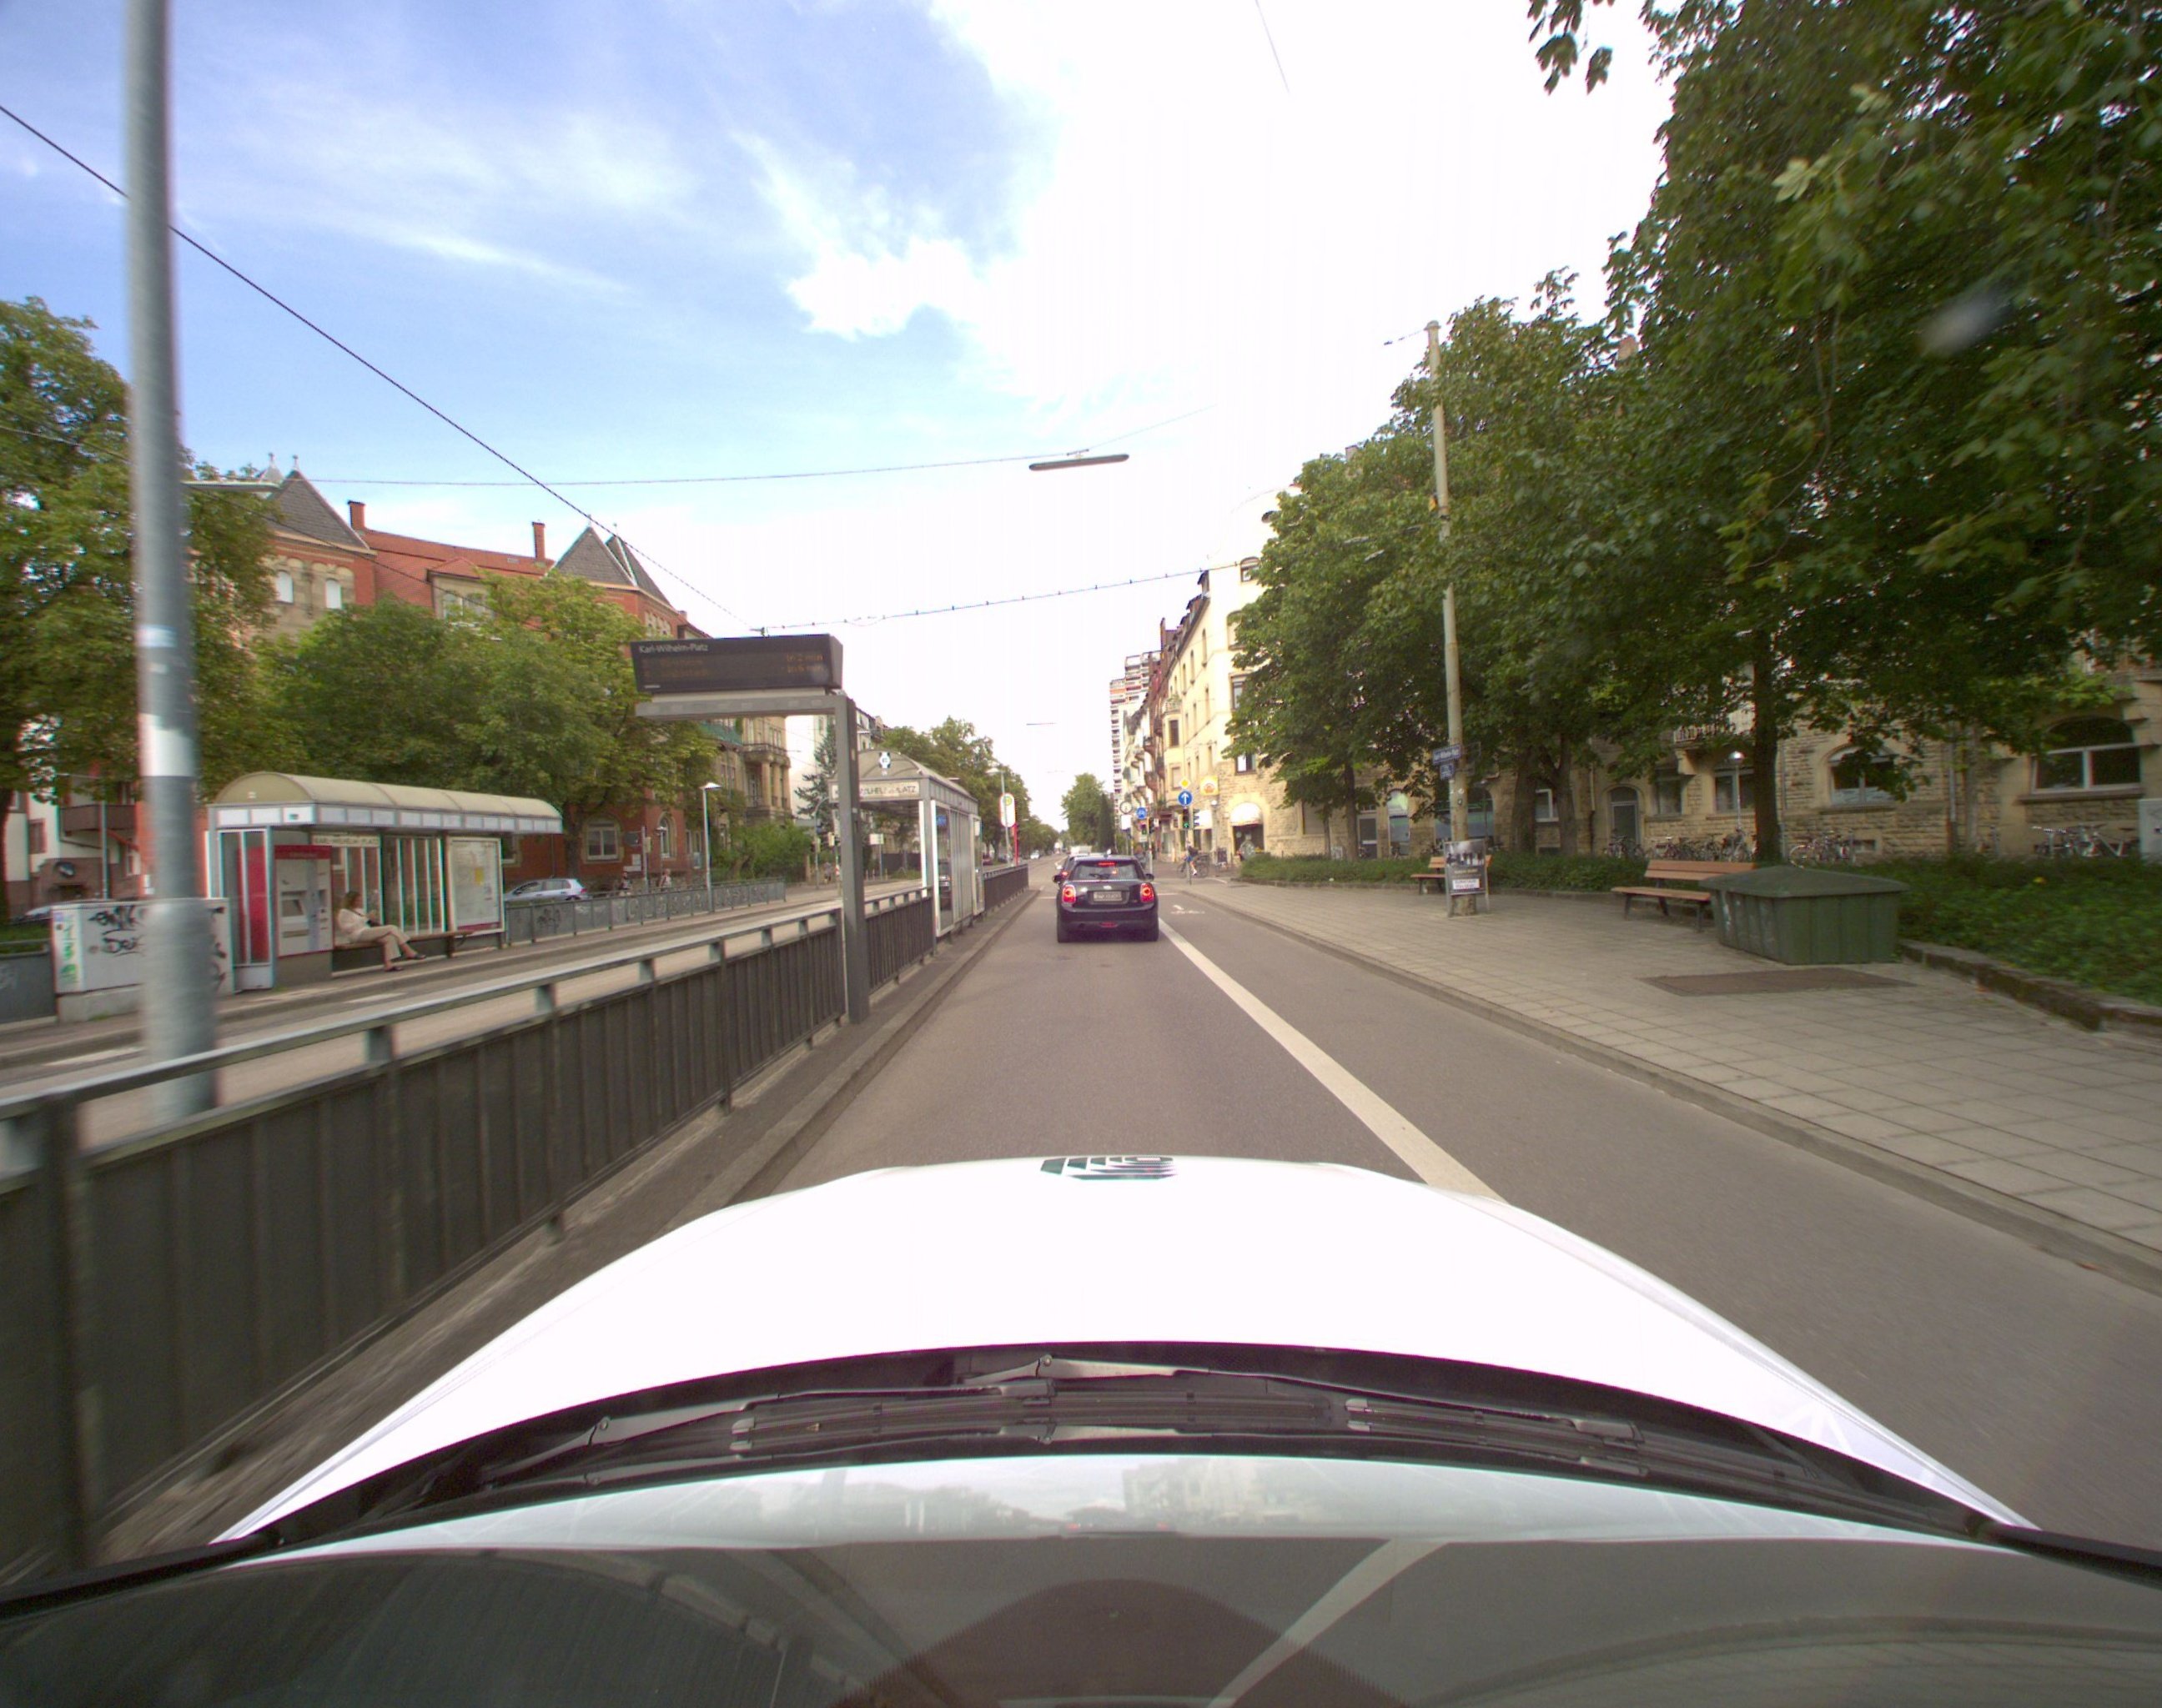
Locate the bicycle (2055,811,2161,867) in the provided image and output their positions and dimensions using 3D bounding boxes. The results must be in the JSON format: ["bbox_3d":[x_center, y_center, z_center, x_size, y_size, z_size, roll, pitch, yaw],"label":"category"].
[{"bbox_3d":[22.705,-0.333,17.849,1.878,1.128,0.533,-3,0,5],"label":"bicycle"}]

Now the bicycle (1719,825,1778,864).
[{"bbox_3d":[20.869,-0.293,25.449,1.896,1.128,0.590,-3,0,-23],"label":"bicycle"}]

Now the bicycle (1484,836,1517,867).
[{"bbox_3d":[16.624,-0.119,32.227,0.659,1.128,1.906,-3,0,42],"label":"bicycle"}]

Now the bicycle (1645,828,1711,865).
[{"bbox_3d":[19.975,-0.259,27.263,1.887,1.128,0.597,-3,0,-9],"label":"bicycle"}]

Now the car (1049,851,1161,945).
[{"bbox_3d":[0.410,0.699,14.946,1.746,1.441,4.000,-1,0,1],"label":"car"}]

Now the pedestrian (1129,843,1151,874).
[{"bbox_3d":[3.442,0.248,47.549,0.840,1.674,0.723,-7,0,-44],"label":"pedestrian"}]

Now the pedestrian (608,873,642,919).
[{"bbox_3d":[-17.946,1.634,32.061,0.831,1.703,0.731,-3,0,-6],"label":"pedestrian"}]

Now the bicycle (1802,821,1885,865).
[{"bbox_3d":[21.596,-0.307,23.072,1.884,1.128,0.532,-3,0,-4],"label":"bicycle"}]

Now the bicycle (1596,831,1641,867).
[{"bbox_3d":[19.173,-0.181,29.038,1.900,1.127,0.527,-4,1,-31],"label":"bicycle"}]

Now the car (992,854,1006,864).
[{"bbox_3d":[-14.653,0.858,145.088,1.987,1.552,4.000,-3,0,0],"label":"car"}]

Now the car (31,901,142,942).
[{"bbox_3d":[-41.806,2.823,34.247,3.952,1.478,1.826,-3,0,22],"label":"car"}]

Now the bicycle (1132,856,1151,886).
[{"bbox_3d":[2.487,0.678,33.445,0.596,1.170,1.696,-3,0,0],"label":"bicycle"}]

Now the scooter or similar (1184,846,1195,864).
[{"bbox_3d":[7.515,0.058,56.503,0.507,1.188,1.261,-3,0,0],"label":"scooter or similar"}]

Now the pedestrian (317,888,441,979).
[{"bbox_3d":[-11.152,1.238,12.986,1.057,1.293,0.984,-3,0,-6],"label":"pedestrian"}]

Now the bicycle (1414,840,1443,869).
[{"bbox_3d":[14.655,0.006,34.322,0.526,1.128,1.906,-3,0,42],"label":"bicycle"}]

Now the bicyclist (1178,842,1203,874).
[{"bbox_3d":[5.273,0.172,39.223,0.903,1.472,0.621,-3,0,31],"label":"bicyclist"}]

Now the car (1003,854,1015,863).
[{"bbox_3d":[-14.304,0.830,161.324,1.987,1.552,4.000,-3,0,0],"label":"car"}]

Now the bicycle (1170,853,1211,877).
[{"bbox_3d":[5.288,0.543,39.228,1.797,1.076,0.621,-3,0,31],"label":"bicycle"}]

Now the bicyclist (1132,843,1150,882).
[{"bbox_3d":[2.467,0.351,33.441,0.592,1.550,1.013,-3,0,0],"label":"bicyclist"}]

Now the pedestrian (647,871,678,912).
[{"bbox_3d":[-17.555,1.552,34.168,0.867,1.632,0.743,-3,0,-6],"label":"pedestrian"}]

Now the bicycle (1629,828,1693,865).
[{"bbox_3d":[19.836,-0.253,27.848,1.887,1.128,0.561,-3,0,-9],"label":"bicycle"}]

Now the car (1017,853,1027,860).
[{"bbox_3d":[-14.367,0.689,197.545,1.987,1.552,4.000,-3,0,0],"label":"car"}]

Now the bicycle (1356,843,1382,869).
[{"bbox_3d":[12.908,0.089,36.490,0.444,1.055,1.659,-3,0,42],"label":"bicycle"}]

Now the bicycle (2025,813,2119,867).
[{"bbox_3d":[22.822,-0.330,18.753,1.889,1.128,0.530,-3,0,-12],"label":"bicycle"}]

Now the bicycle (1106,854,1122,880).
[{"bbox_3d":[1.588,0.627,39.011,0.681,1.170,1.697,-3,0,2],"label":"bicycle"}]

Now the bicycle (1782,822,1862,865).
[{"bbox_3d":[21.515,-0.302,23.656,1.884,1.128,0.532,-3,0,-4],"label":"bicycle"}]

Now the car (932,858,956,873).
[{"bbox_3d":[-13.983,1.159,83.385,1.762,1.395,3.998,-3,0,-1],"label":"car"}]

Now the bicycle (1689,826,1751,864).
[{"bbox_3d":[20.569,-0.283,26.205,1.892,1.128,0.579,-3,0,-18],"label":"bicycle"}]

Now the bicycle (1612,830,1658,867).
[{"bbox_3d":[19.430,-0.198,28.555,1.900,1.127,0.527,-5,1,-31],"label":"bicycle"}]

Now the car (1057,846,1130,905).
[{"bbox_3d":[0.292,0.586,24.546,1.922,1.510,3.997,-3,0,-2],"label":"car"}]

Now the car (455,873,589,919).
[{"bbox_3d":[-23.573,1.714,34.412,4.372,1.578,2.185,-3,0,-42],"label":"car"}]

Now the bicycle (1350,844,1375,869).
[{"bbox_3d":[12.754,0.096,36.870,0.444,1.055,1.659,-3,0,42],"label":"bicycle"}]

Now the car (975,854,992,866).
[{"bbox_3d":[-14.631,0.868,122.120,1.987,1.552,4.000,-3,0,0],"label":"car"}]

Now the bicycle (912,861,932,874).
[{"bbox_3d":[-14.840,1.282,75.905,1.681,1.119,0.566,-4,0,-40],"label":"bicycle"}]

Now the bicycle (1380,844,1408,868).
[{"bbox_3d":[13.721,0.071,35.656,0.526,0.972,1.659,-3,0,42],"label":"bicycle"}]

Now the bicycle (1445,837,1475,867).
[{"bbox_3d":[15.584,-0.080,33.437,0.526,1.128,1.906,-3,0,42],"label":"bicycle"}]

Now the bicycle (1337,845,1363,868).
[{"bbox_3d":[12.432,0.098,37.634,0.595,0.972,1.683,-3,0,38],"label":"bicycle"}]

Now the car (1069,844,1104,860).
[{"bbox_3d":[0.913,-0.294,127.841,5.066,2.272,2.368,-3,0,-41],"label":"car"}]

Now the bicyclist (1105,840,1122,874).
[{"bbox_3d":[1.556,0.136,38.958,0.681,1.563,0.999,-3,0,2],"label":"bicyclist"}]

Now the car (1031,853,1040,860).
[{"bbox_3d":[-9.815,0.537,176.187,1.762,1.395,3.998,-3,0,-1],"label":"car"}]

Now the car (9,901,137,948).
[{"bbox_3d":[-36.925,2.573,29.830,3.952,1.478,1.826,-3,0,22],"label":"car"}]

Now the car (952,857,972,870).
[{"bbox_3d":[-13.886,1.089,95.410,1.762,1.395,3.998,-3,0,-1],"label":"car"}]

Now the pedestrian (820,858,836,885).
[{"bbox_3d":[-17.053,1.159,54.855,0.728,1.783,0.835,-3,0,0],"label":"pedestrian"}]
